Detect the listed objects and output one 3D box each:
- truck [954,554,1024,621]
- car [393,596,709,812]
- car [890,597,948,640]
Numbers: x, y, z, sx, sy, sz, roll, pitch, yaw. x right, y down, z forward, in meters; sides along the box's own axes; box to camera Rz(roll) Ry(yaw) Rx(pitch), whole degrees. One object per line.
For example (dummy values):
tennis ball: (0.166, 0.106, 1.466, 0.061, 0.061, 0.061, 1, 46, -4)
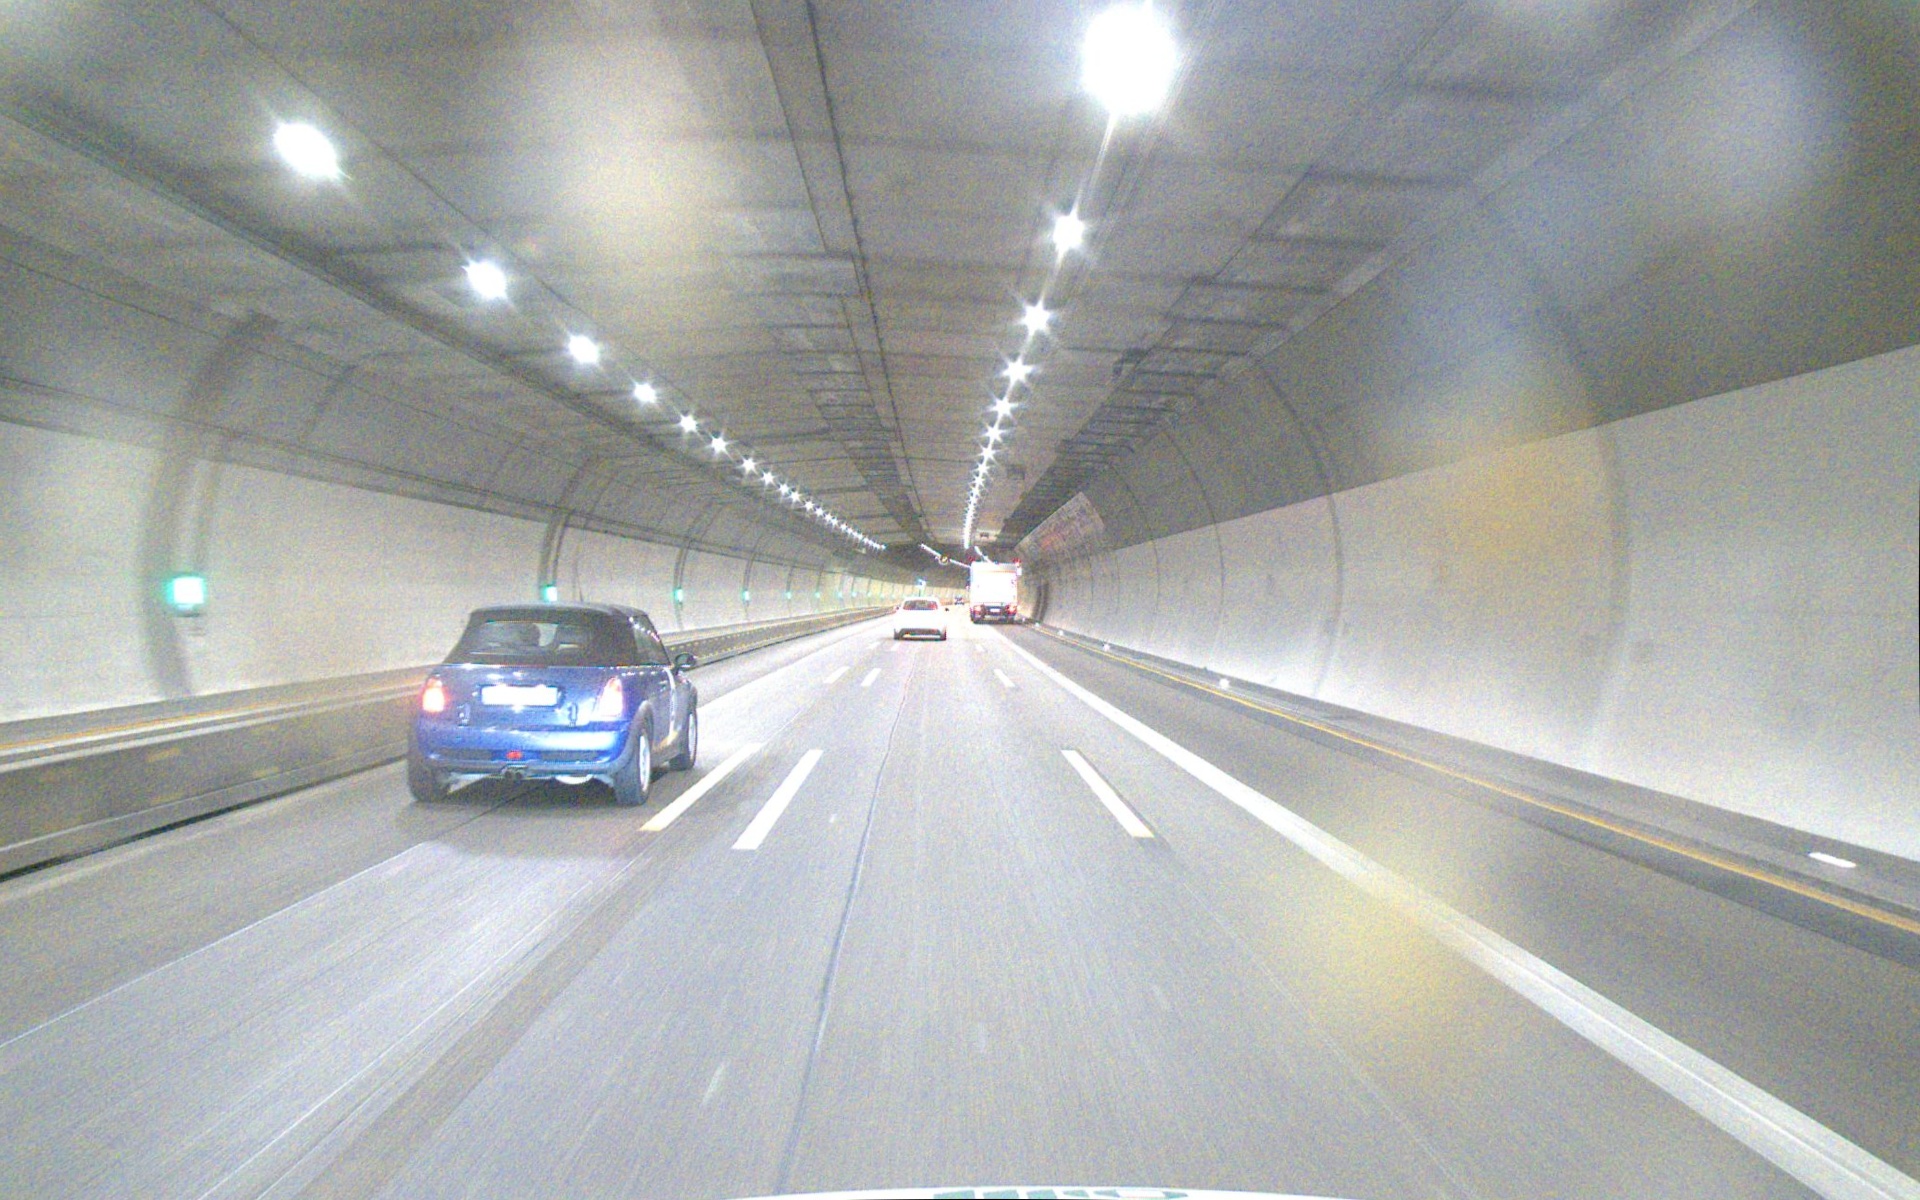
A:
truck: (1.599, -0.715, 97.650, 3.520, 3.714, 10.717, 0, 0, -2)
car: (-3.061, 0.703, 13.160, 1.655, 1.442, 3.921, 0, 0, -2)
car: (-1.465, 0.610, 57.907, 1.953, 1.437, 4.740, 0, 0, -2)
